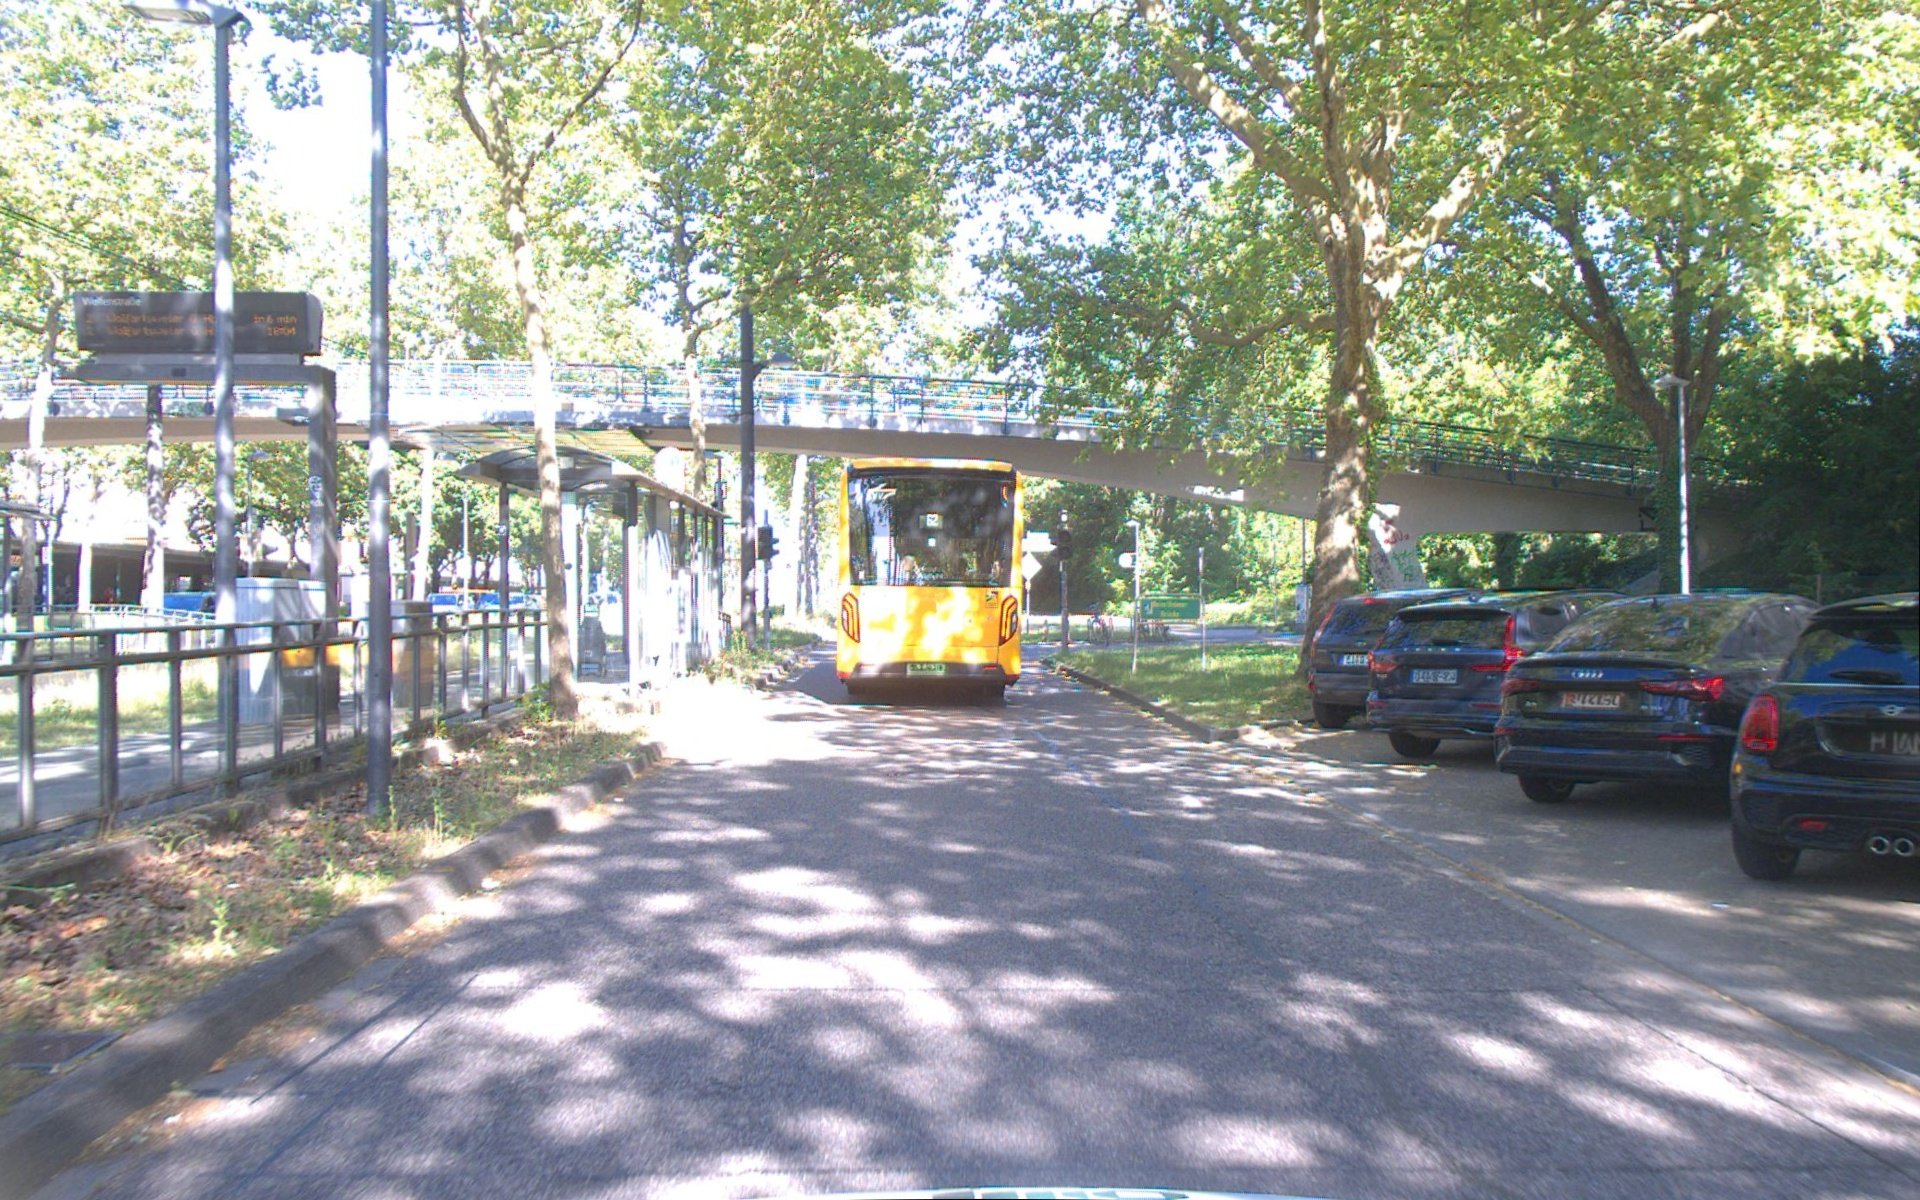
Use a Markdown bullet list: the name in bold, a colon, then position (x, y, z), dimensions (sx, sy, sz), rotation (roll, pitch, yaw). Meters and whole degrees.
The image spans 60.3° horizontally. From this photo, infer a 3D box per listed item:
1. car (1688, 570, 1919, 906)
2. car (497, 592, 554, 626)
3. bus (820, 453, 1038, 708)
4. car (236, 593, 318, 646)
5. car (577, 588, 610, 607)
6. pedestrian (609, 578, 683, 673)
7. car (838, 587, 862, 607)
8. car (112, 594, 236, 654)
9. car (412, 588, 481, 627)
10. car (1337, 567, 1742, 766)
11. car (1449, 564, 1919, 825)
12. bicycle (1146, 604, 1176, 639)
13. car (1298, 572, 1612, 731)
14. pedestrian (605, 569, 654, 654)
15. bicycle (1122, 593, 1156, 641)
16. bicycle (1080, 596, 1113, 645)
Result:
- **car**: position (5.713, 0.596, 9.162), dimensions (1.753, 1.493, 3.972), rotation (-2, 1, 45)
- **car**: position (-20.353, 0.391, 77.633), dimensions (1.759, 1.536, 4.671), rotation (0, 0, -4)
- **bus**: position (-0.708, -0.295, 27.761), dimensions (2.842, 3.324, 12.210), rotation (0, 0, -3)
- **car**: position (-21.492, 0.582, 51.975), dimensions (1.776, 1.593, 4.242), rotation (-1, 0, -31)
- **car**: position (-30.504, -0.217, 137.746), dimensions (1.757, 1.536, 4.001), rotation (0, 0, 1)
- **pedestrian**: position (-4.299, 0.336, 22.691), dimensions (0.837, 1.264, 0.850), rotation (1, 0, -1)
- **car**: position (-10.394, -0.301, 156.558), dimensions (1.946, 1.672, 4.133), rotation (2, 1, -1)
- **car**: position (-21.918, 0.629, 46.284), dimensions (1.759, 1.593, 4.283), rotation (0, 0, -6)
- **car**: position (-22.166, 0.310, 71.502), dimensions (1.758, 1.608, 4.286), rotation (0, 0, -2)
- **car**: position (5.490, 0.525, 15.396), dimensions (4.222, 1.487, 1.772), rotation (-3, 1, -43)
- **car**: position (5.533, 0.563, 12.169), dimensions (4.222, 1.487, 1.772), rotation (-3, 1, -43)
- **bicycle**: position (5.380, 0.569, 44.359), dimensions (0.495, 0.867, 1.473), rotation (-3, 1, -3)
- **car**: position (5.630, 0.515, 18.545), dimensions (1.769, 1.487, 3.975), rotation (-2, 1, 43)
- **pedestrian**: position (-5.673, 0.194, 28.417), dimensions (0.710, 1.442, 0.681), rotation (1, 0, -3)
- **bicycle**: position (4.767, 0.445, 44.129), dimensions (0.578, 1.203, 1.799), rotation (-3, 1, -3)
- **bicycle**: position (3.631, 0.526, 44.138), dimensions (0.578, 1.203, 1.799), rotation (-3, 1, -3)
